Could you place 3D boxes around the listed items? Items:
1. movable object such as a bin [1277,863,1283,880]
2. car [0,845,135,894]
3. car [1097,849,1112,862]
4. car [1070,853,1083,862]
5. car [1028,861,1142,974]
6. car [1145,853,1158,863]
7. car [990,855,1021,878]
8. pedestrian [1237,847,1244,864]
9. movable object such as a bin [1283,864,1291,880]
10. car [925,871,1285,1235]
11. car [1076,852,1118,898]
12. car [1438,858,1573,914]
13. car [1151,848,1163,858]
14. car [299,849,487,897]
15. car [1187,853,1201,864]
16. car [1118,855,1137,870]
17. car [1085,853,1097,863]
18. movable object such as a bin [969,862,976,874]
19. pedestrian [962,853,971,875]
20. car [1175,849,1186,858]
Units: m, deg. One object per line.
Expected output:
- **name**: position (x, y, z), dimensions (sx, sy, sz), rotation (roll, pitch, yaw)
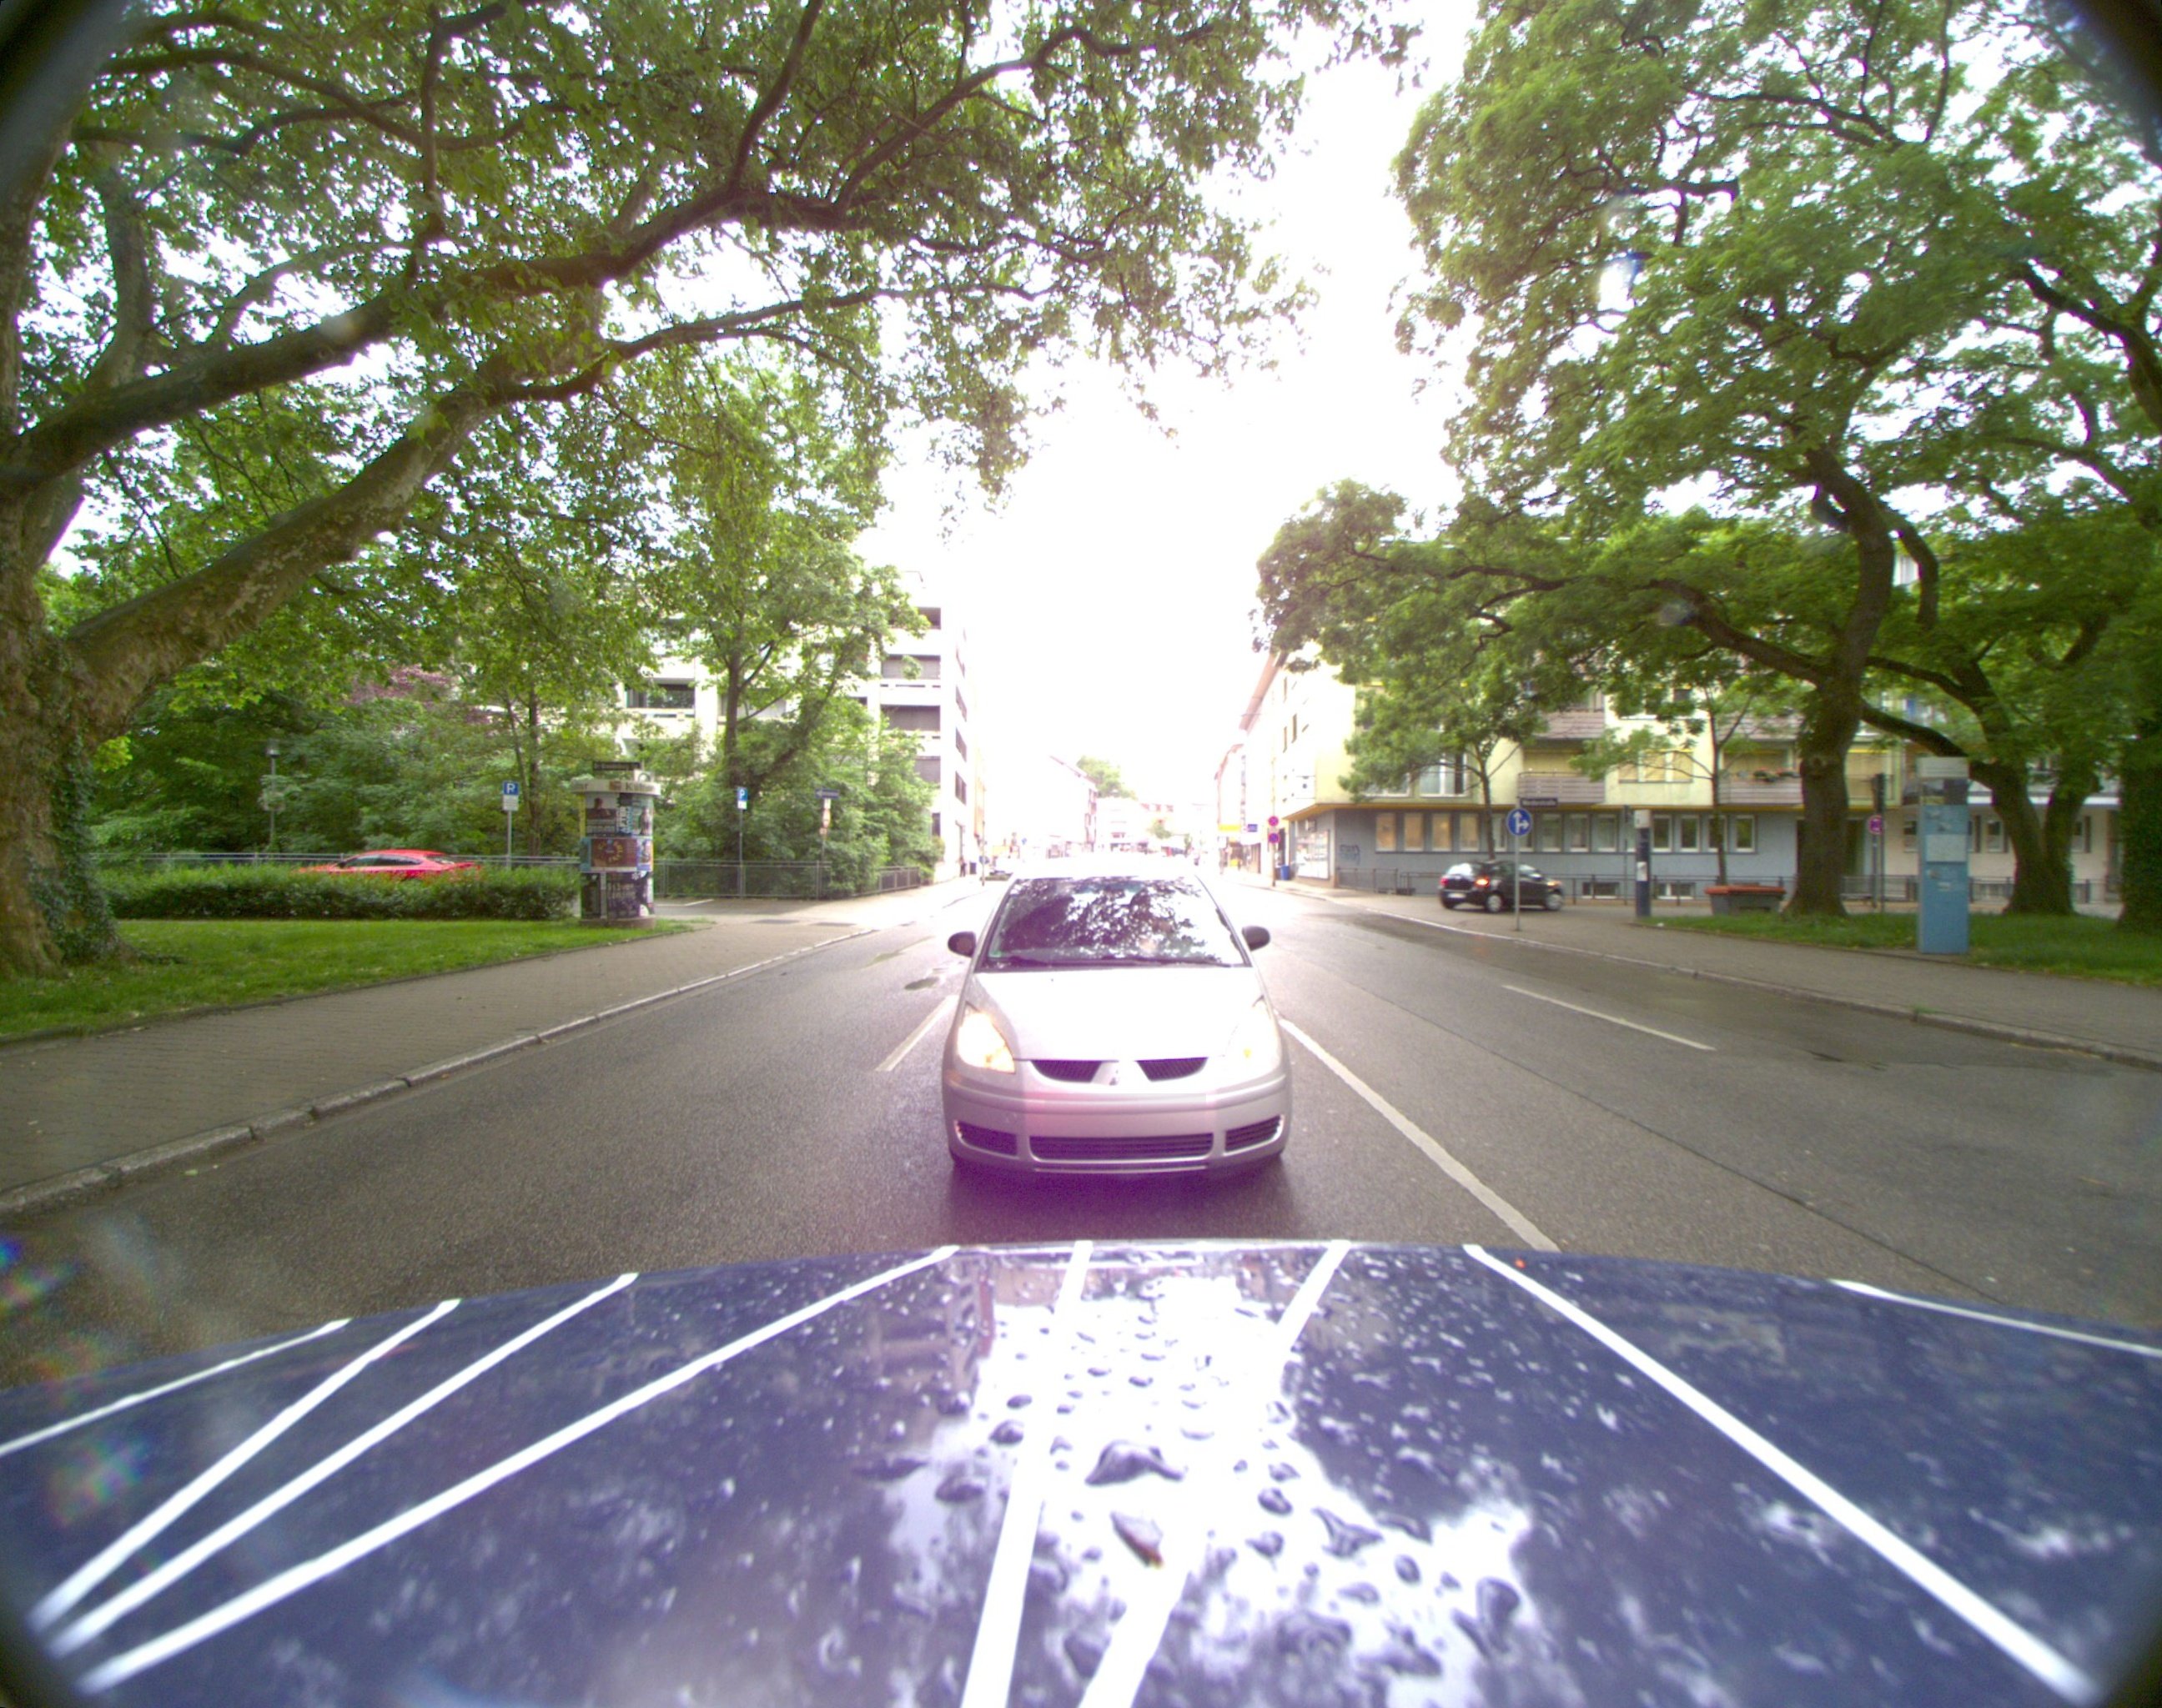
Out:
- **movable object such as a bin**: position (12.681, 1.109, 48.408), dimensions (0.338, 1.023, 0.353), rotation (1, 1, 8)
- **car**: position (-29.083, 0.406, 21.148), dimensions (3.468, 1.271, 1.448), rotation (1, 1, -5)
- **car**: position (3.480, 0.237, 113.287), dimensions (1.935, 1.817, 3.999), rotation (1, 1, 0)
- **car**: position (-0.668, 0.510, 113.435), dimensions (1.802, 1.433, 3.896), rotation (1, 0, 0)
- **car**: position (0.132, 0.919, 12.648), dimensions (1.590, 1.540, 3.771), rotation (1, 0, 2)
- **car**: position (11.584, 0.683, 124.828), dimensions (1.998, 1.631, 4.001), rotation (1, 0, 4)
- **car**: position (-5.307, 0.857, 53.523), dimensions (1.681, 1.424, 3.681), rotation (3, 0, 1)
- **pedestrian**: position (17.623, 0.130, 83.963), dimensions (0.594, 1.833, 0.565), rotation (1, 1, 8)
- **movable object such as a bin**: position (13.088, 1.145, 48.285), dimensions (0.415, 1.023, 0.353), rotation (1, 1, 8)
- **car**: position (0.135, 0.929, 5.017), dimensions (1.576, 1.514, 3.241), rotation (-1, 0, 1)
- **car**: position (0.611, 0.789, 30.572), dimensions (1.584, 1.705, 3.649), rotation (1, 0, 0)
- **car**: position (12.361, 0.911, 22.119), dimensions (3.572, 1.480, 1.569), rotation (1, 1, -25)
- **car**: position (14.131, -0.182, 141.528), dimensions (1.998, 1.841, 4.001), rotation (1, 0, 4)
- **car**: position (-19.417, 0.516, 21.558), dimensions (3.790, 1.271, 1.576), rotation (1, 1, -3)
- **car**: position (17.970, 0.733, 121.040), dimensions (1.889, 1.707, 4.001), rotation (1, 0, 4)
- **car**: position (4.443, 0.786, 72.974), dimensions (1.701, 1.433, 3.897), rotation (1, 0, 1)
- **car**: position (1.581, 0.622, 120.032), dimensions (1.802, 1.433, 3.897), rotation (1, 0, 1)
- **movable object such as a bin**: position (-8.986, 1.163, 62.949), dimensions (0.556, 1.035, 0.292), rotation (1, 1, 0)
- **pedestrian**: position (-7.991, 0.713, 53.007), dimensions (0.480, 1.521, 0.481), rotation (-2, 1, 1)
- **car**: position (19.006, -0.094, 145.488), dimensions (1.867, 1.648, 4.001), rotation (1, 0, 4)
